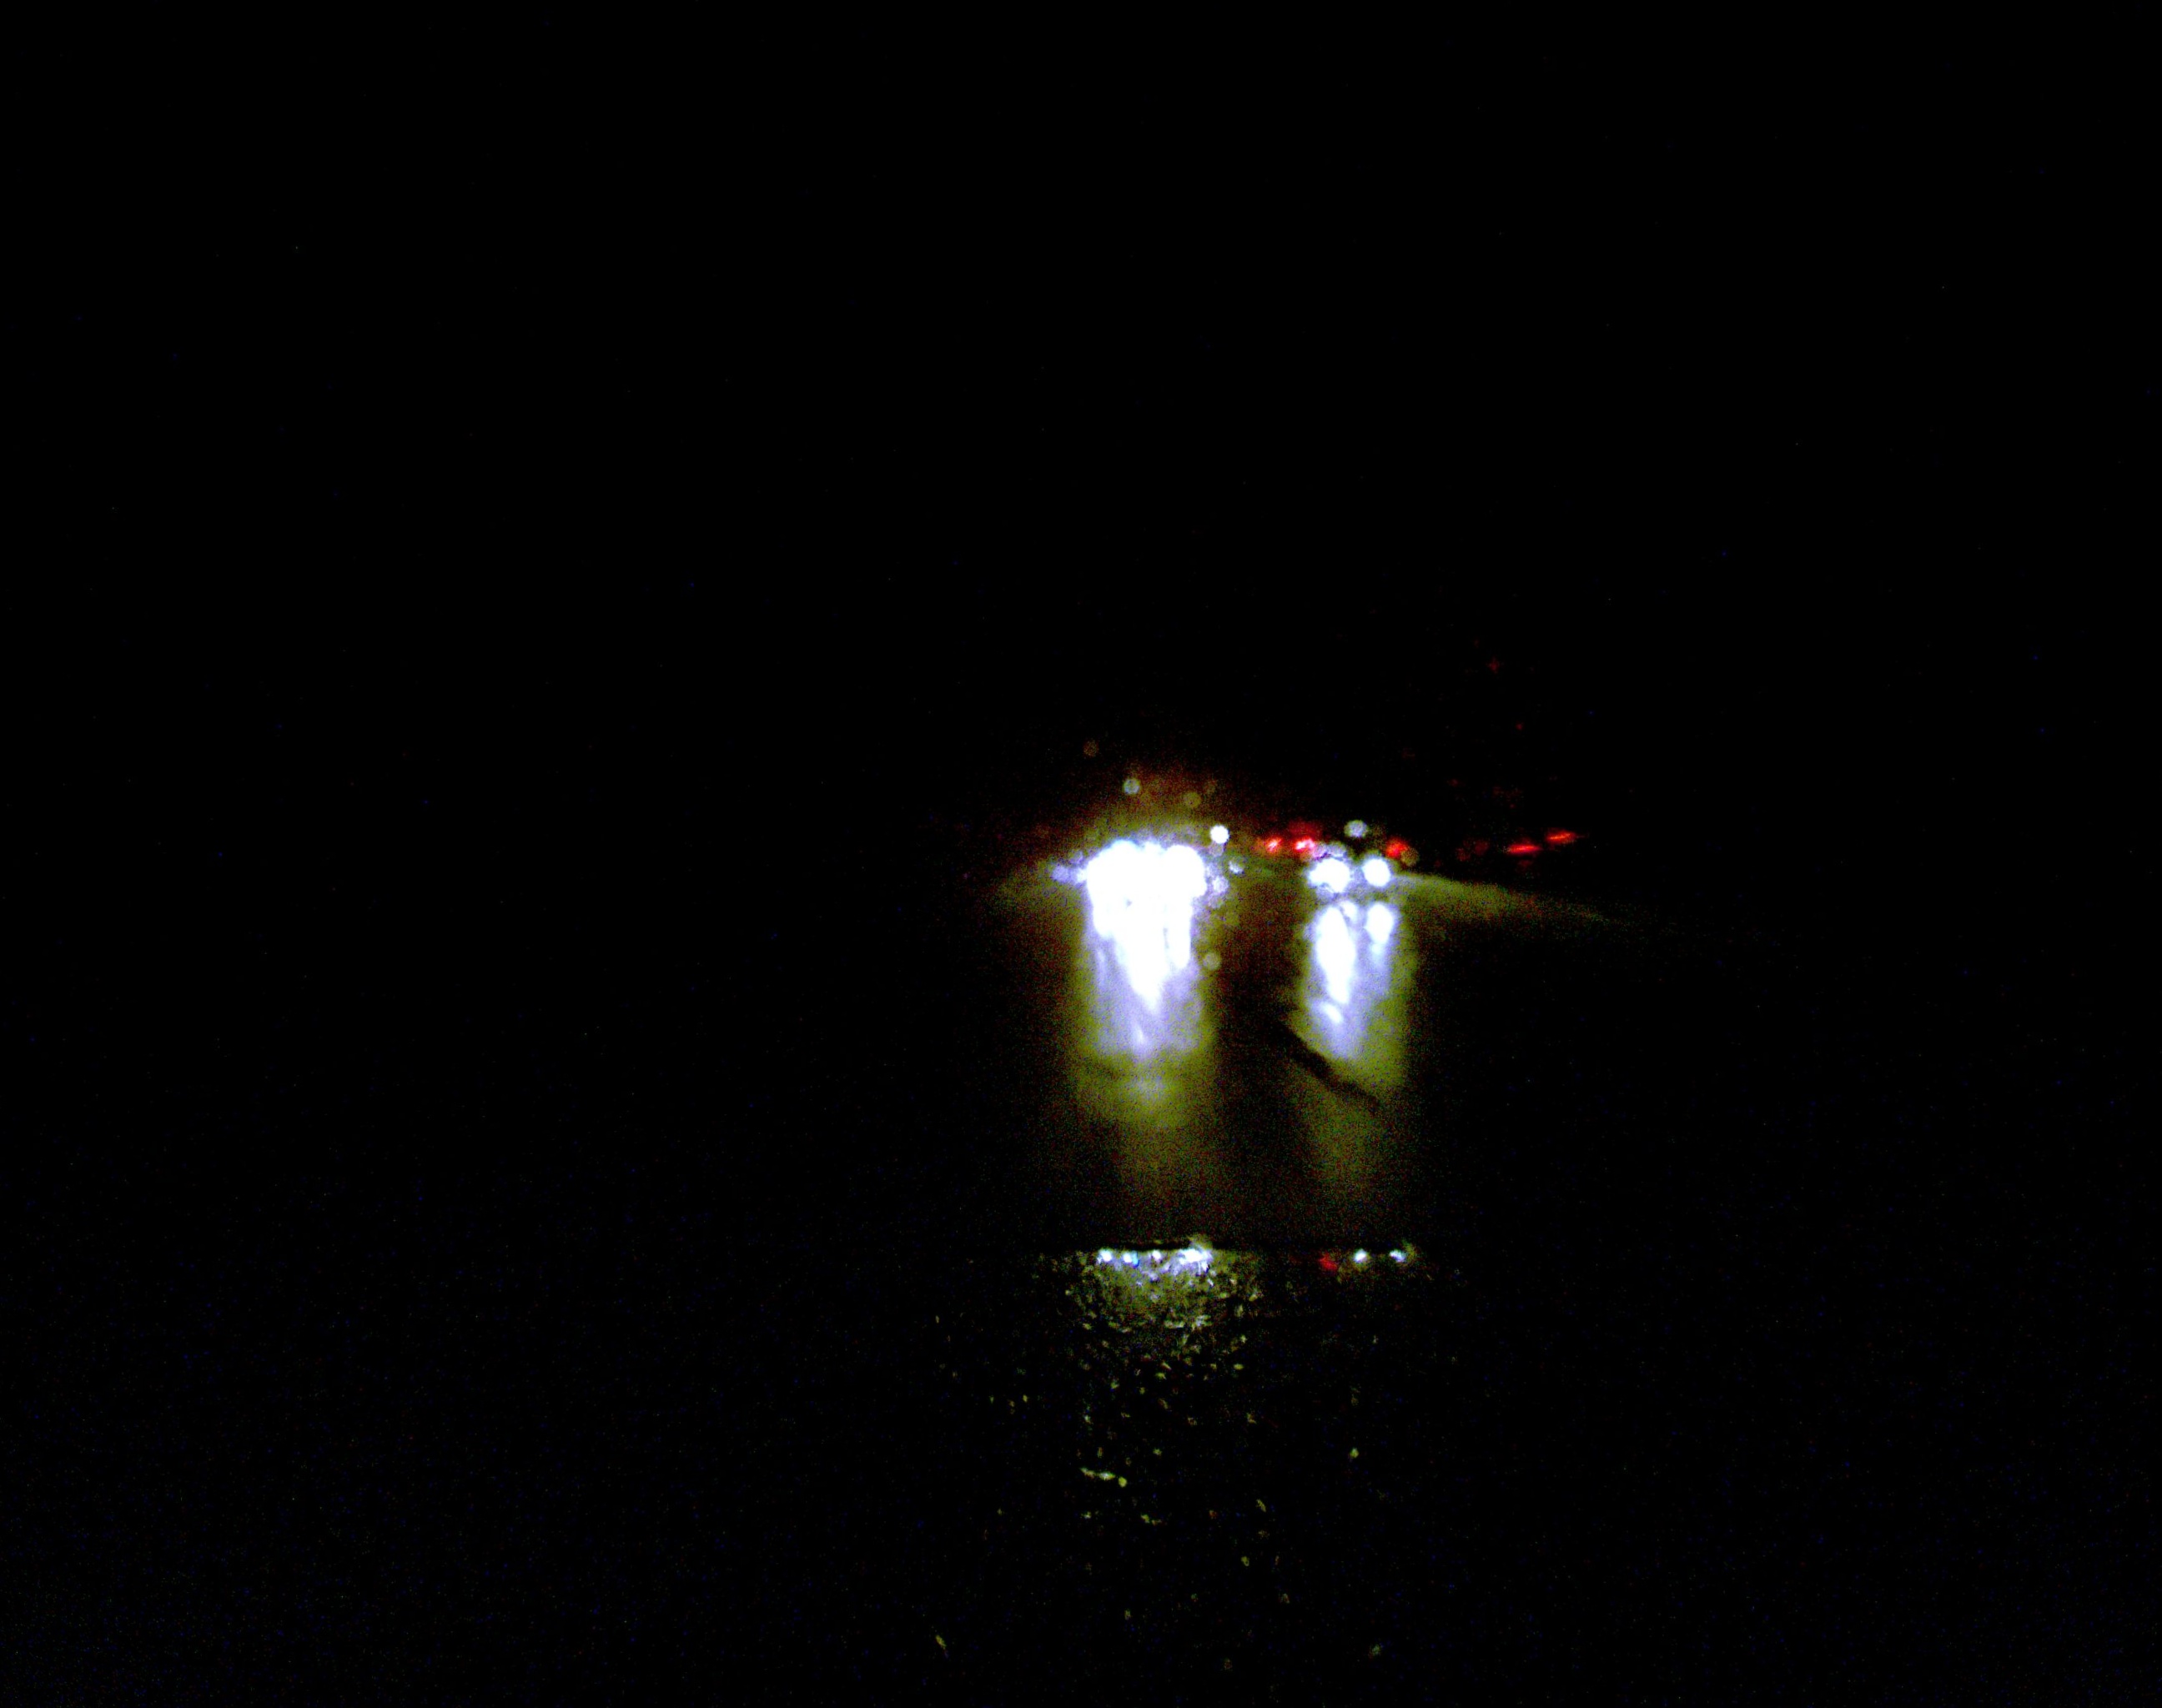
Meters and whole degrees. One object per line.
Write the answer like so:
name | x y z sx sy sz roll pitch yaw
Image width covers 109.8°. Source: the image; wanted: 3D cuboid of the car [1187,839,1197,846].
car | 27.714 -2.885 189.514 1.886 1.500 4.307 -3 1 3

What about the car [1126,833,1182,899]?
car | 2.557 0.383 27.211 1.753 2.092 4.464 -2 0 4

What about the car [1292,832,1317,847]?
car | 26.936 -1.775 91.593 1.846 1.638 4.333 -4 1 2

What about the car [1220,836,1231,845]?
car | 31.881 -2.961 167.868 1.895 1.899 4.844 -3 1 5

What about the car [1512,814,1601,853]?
car | 23.729 -1.023 38.113 1.998 1.718 4.000 -4 1 2

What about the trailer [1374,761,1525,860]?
trailer | 19.592 -2.155 41.691 2.581 4.432 12.493 -4 1 3

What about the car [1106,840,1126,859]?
car | 3.974 -0.508 86.171 1.998 2.002 4.001 -3 1 5

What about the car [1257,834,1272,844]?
car | 30.394 -2.546 126.085 1.768 1.487 3.804 -3 1 5

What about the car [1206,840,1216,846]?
car | 31.376 -2.679 183.928 1.843 1.386 4.168 -3 1 3

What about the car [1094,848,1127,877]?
car | 1.884 0.512 47.700 1.892 1.603 4.000 -3 1 4

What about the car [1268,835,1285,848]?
car | 28.482 -1.845 110.785 1.812 1.602 4.201 -3 -1 6

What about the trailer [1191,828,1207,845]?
trailer | 31.538 -4.580 203.114 3.362 4.149 11.723 -3 1 5

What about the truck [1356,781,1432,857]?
truck | 20.041 -2.176 49.025 2.570 4.379 5.851 -4 1 4

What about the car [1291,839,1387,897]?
car | 7.780 0.389 23.288 1.653 1.566 3.849 -2 0 1
